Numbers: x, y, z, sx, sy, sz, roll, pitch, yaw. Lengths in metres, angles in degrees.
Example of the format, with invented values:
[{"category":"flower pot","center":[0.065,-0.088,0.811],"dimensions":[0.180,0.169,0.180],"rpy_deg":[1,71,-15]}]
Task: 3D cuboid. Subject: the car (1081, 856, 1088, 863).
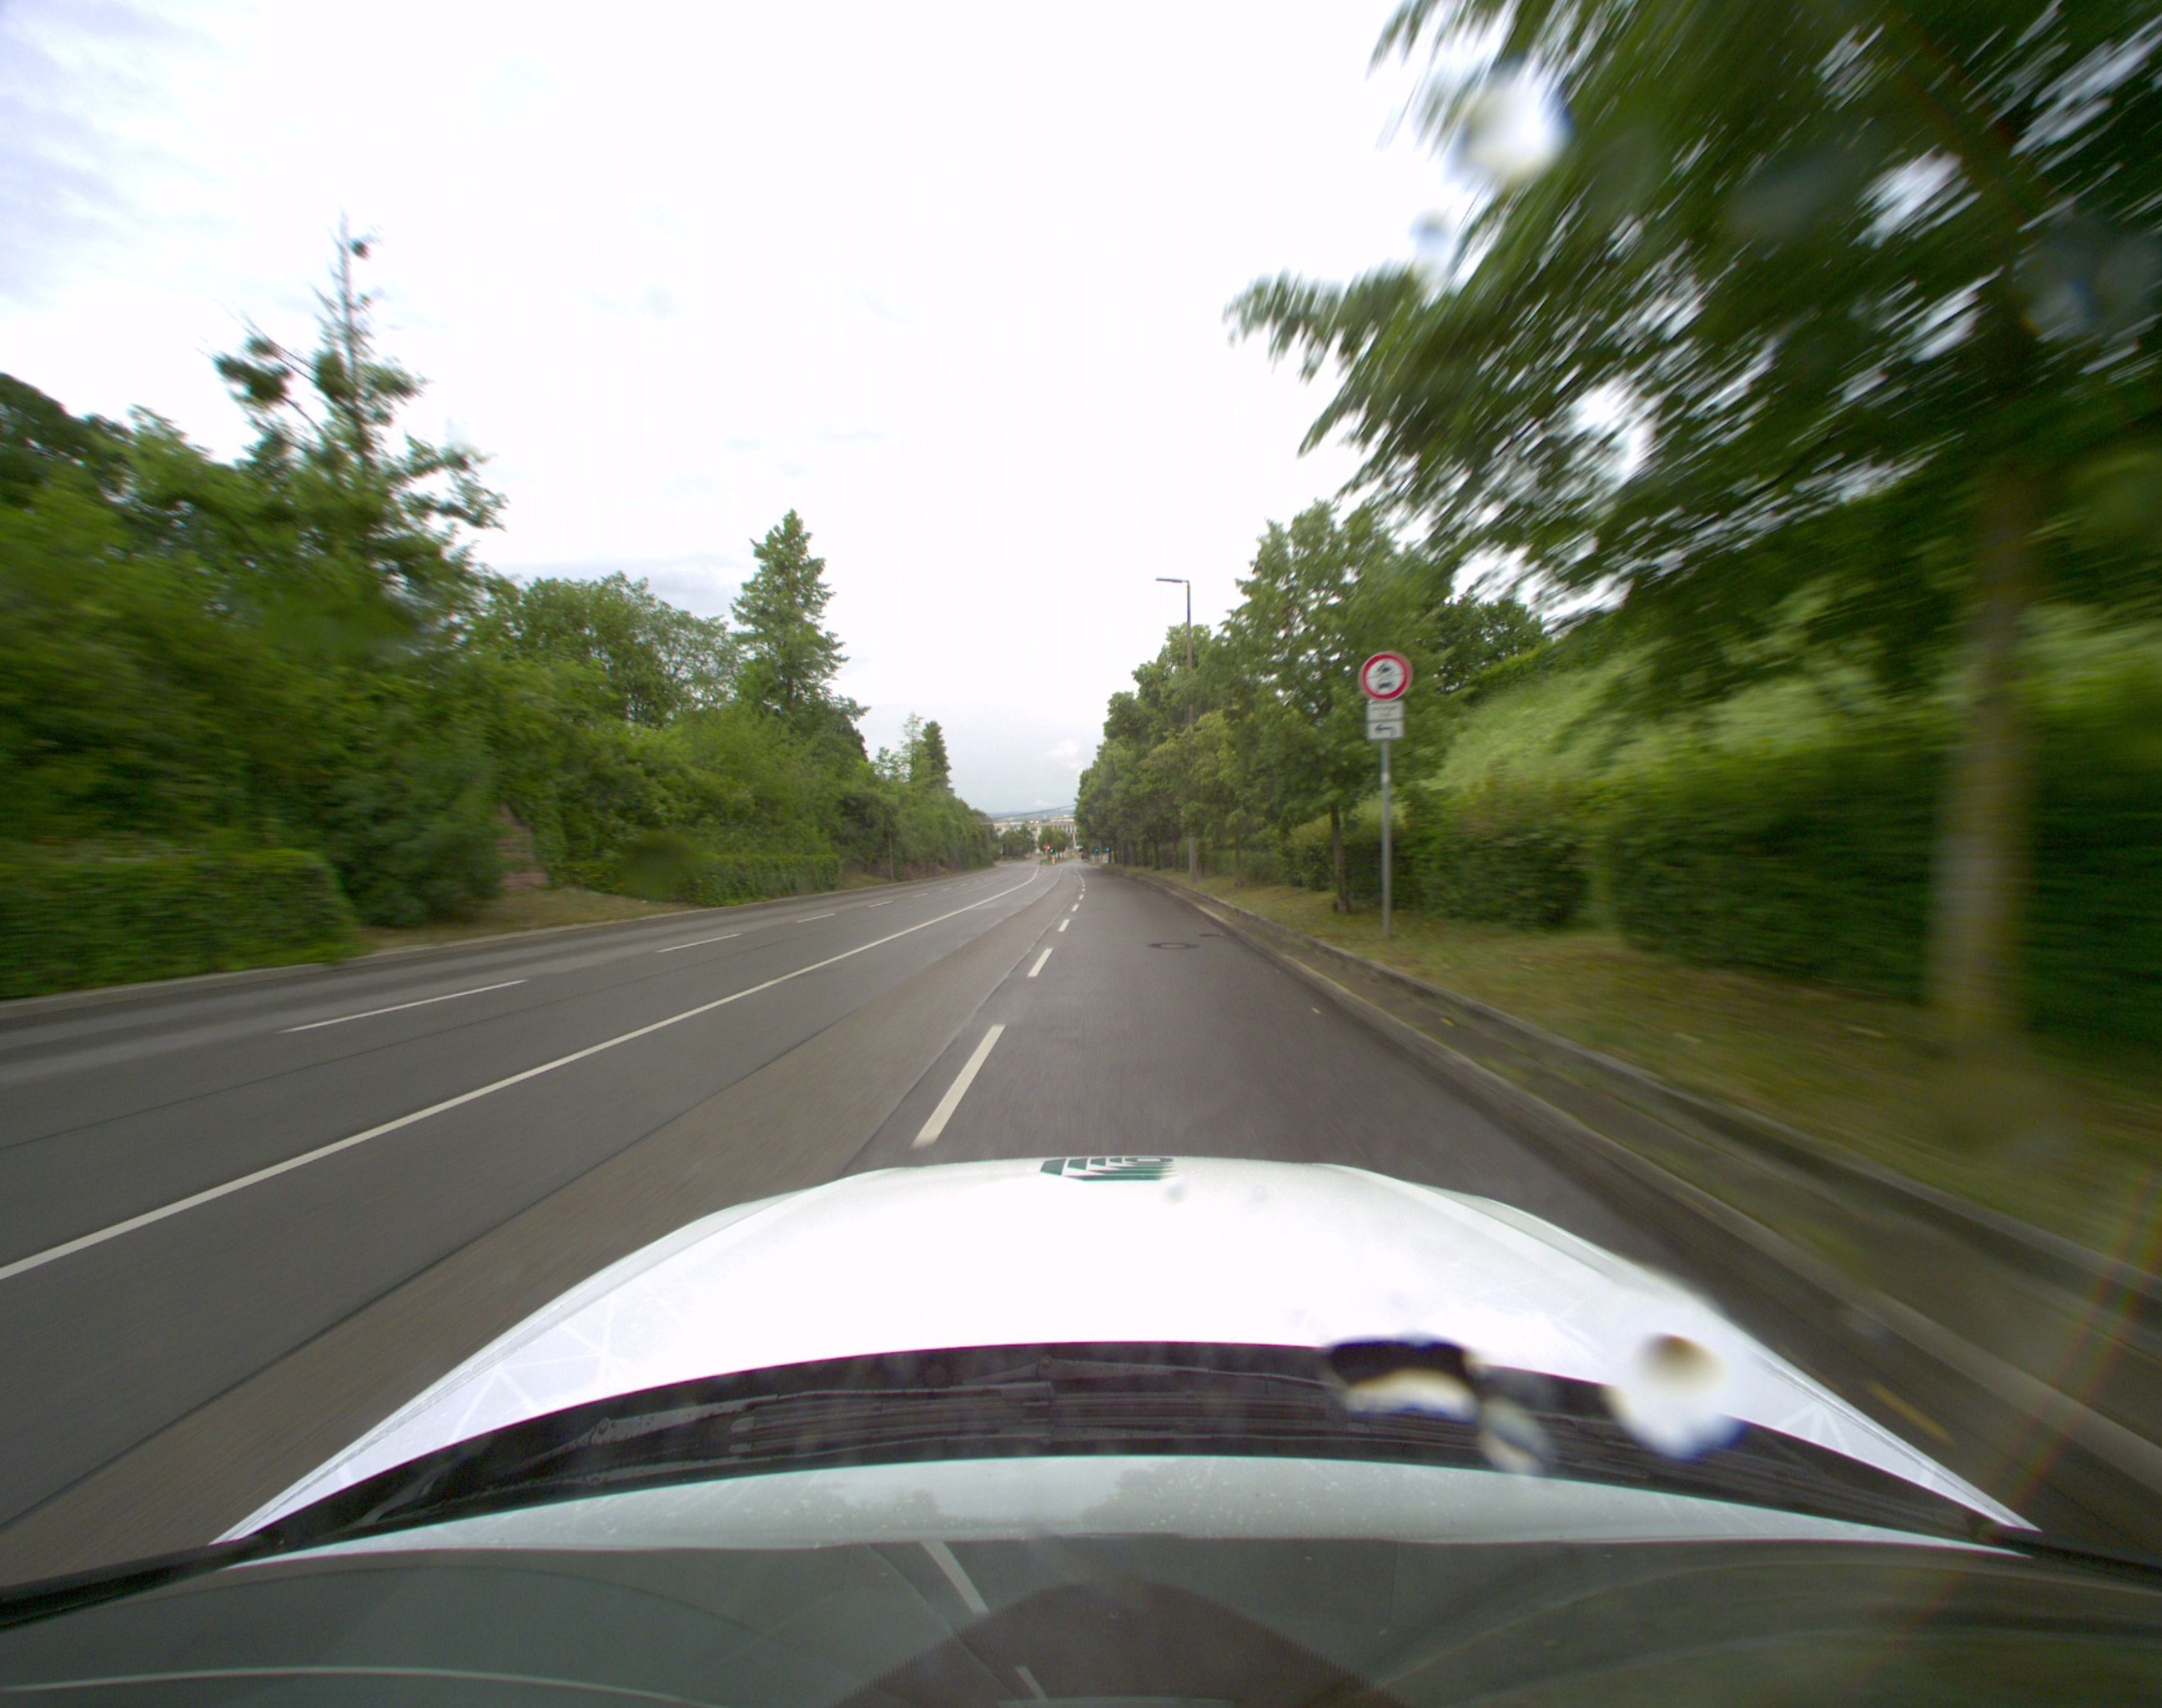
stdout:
[{"category":"car","center":[1.009,1.582,229.692],"dimensions":[1.841,1.702,3.796],"rpy_deg":[0,-2,3]}]
